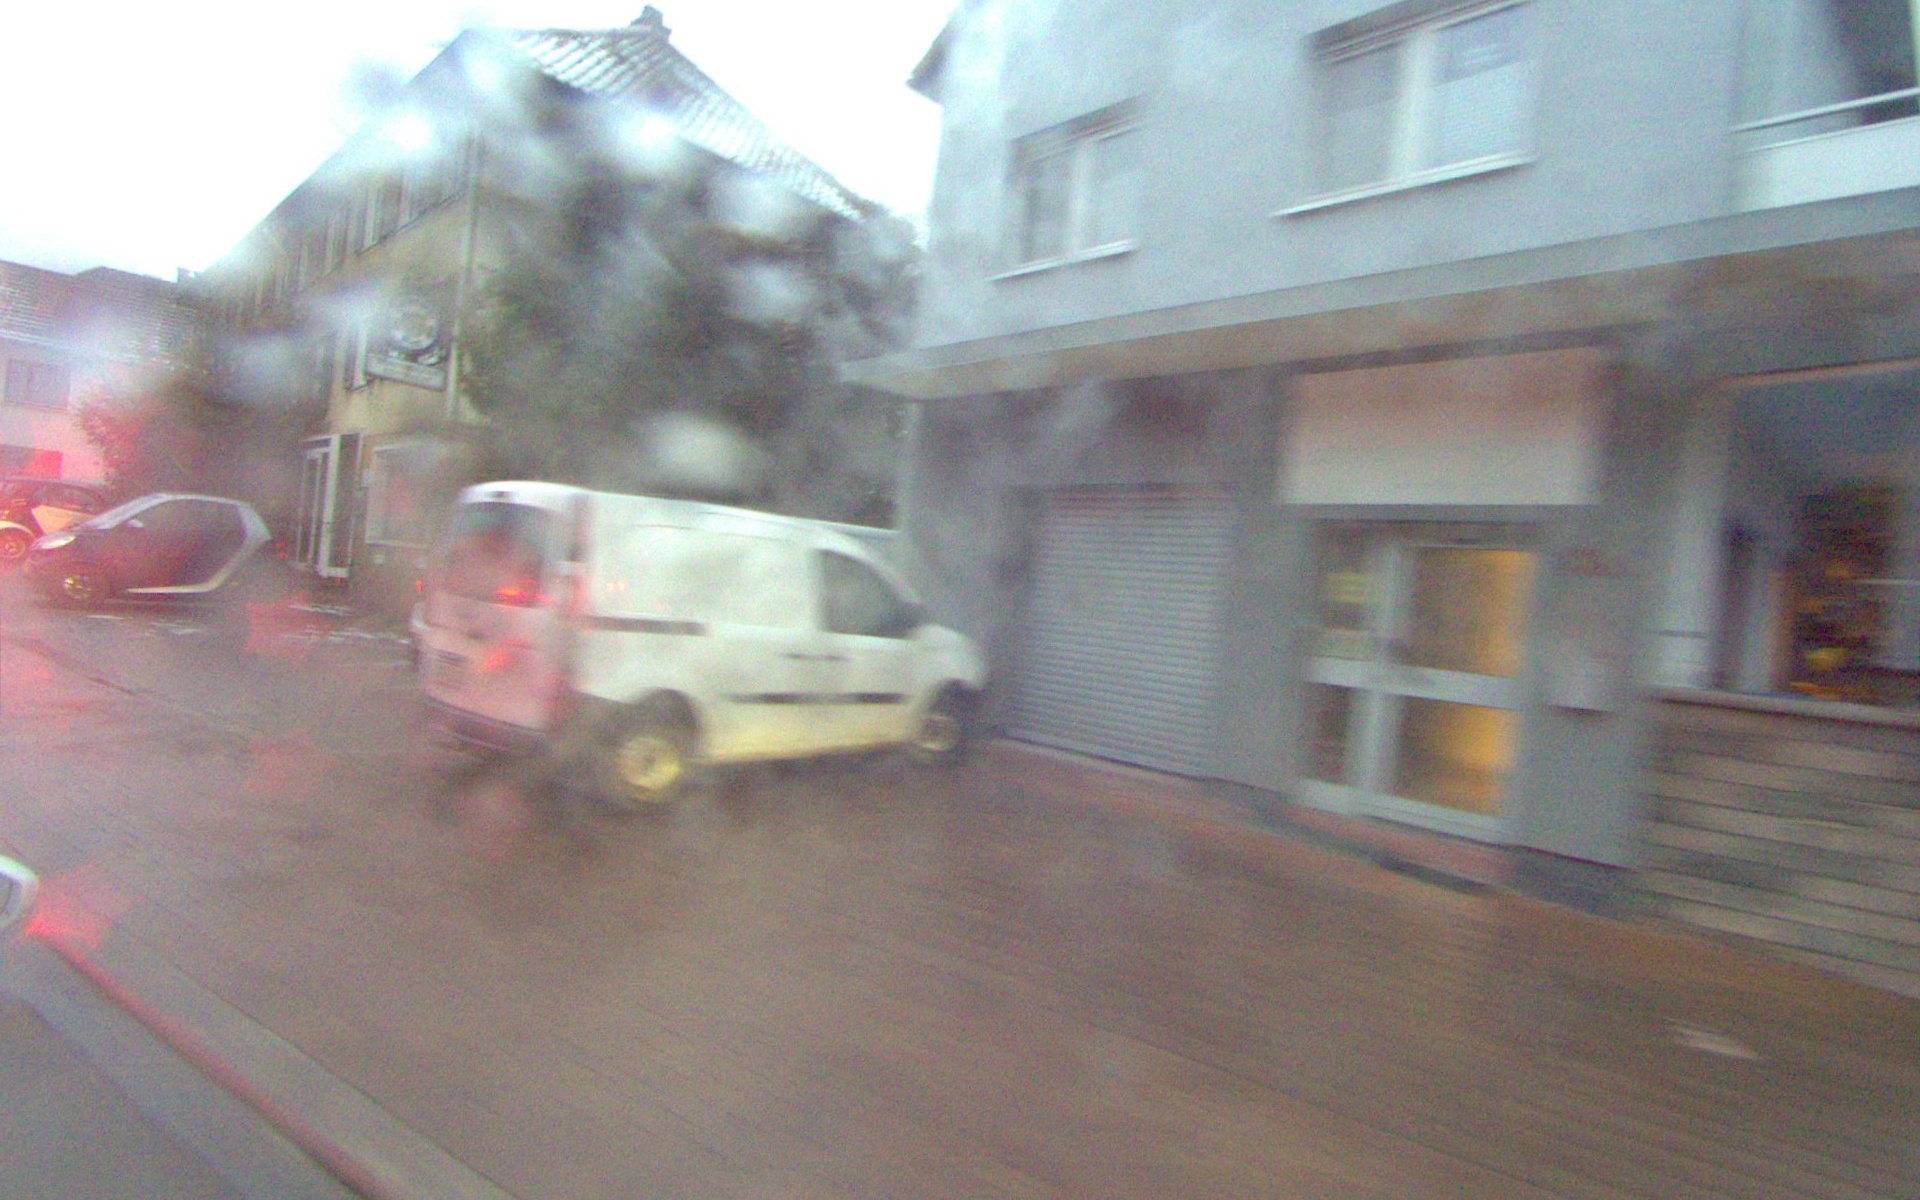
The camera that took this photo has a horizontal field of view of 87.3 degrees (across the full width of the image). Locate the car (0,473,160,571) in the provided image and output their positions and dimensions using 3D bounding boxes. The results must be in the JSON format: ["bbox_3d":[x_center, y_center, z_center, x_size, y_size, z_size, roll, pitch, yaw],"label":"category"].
[{"bbox_3d":[-17.144,-1.506,19.262,1.529,1.567,2.577,8,2,41],"label":"car"}]

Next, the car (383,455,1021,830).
[{"bbox_3d":[-1.510,0.230,7.161,1.835,1.867,4.038,7,2,37],"label":"car"}]

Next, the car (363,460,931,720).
[{"bbox_3d":[-2.749,-0.025,9.905,1.909,1.914,4.970,8,2,41],"label":"car"}]

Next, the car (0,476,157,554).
[{"bbox_3d":[-21.816,-2.090,24.024,1.728,1.493,3.888,7,1,44],"label":"car"}]

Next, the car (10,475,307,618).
[{"bbox_3d":[-10.290,-0.652,13.019,1.407,1.493,2.757,7,2,42],"label":"car"}]
